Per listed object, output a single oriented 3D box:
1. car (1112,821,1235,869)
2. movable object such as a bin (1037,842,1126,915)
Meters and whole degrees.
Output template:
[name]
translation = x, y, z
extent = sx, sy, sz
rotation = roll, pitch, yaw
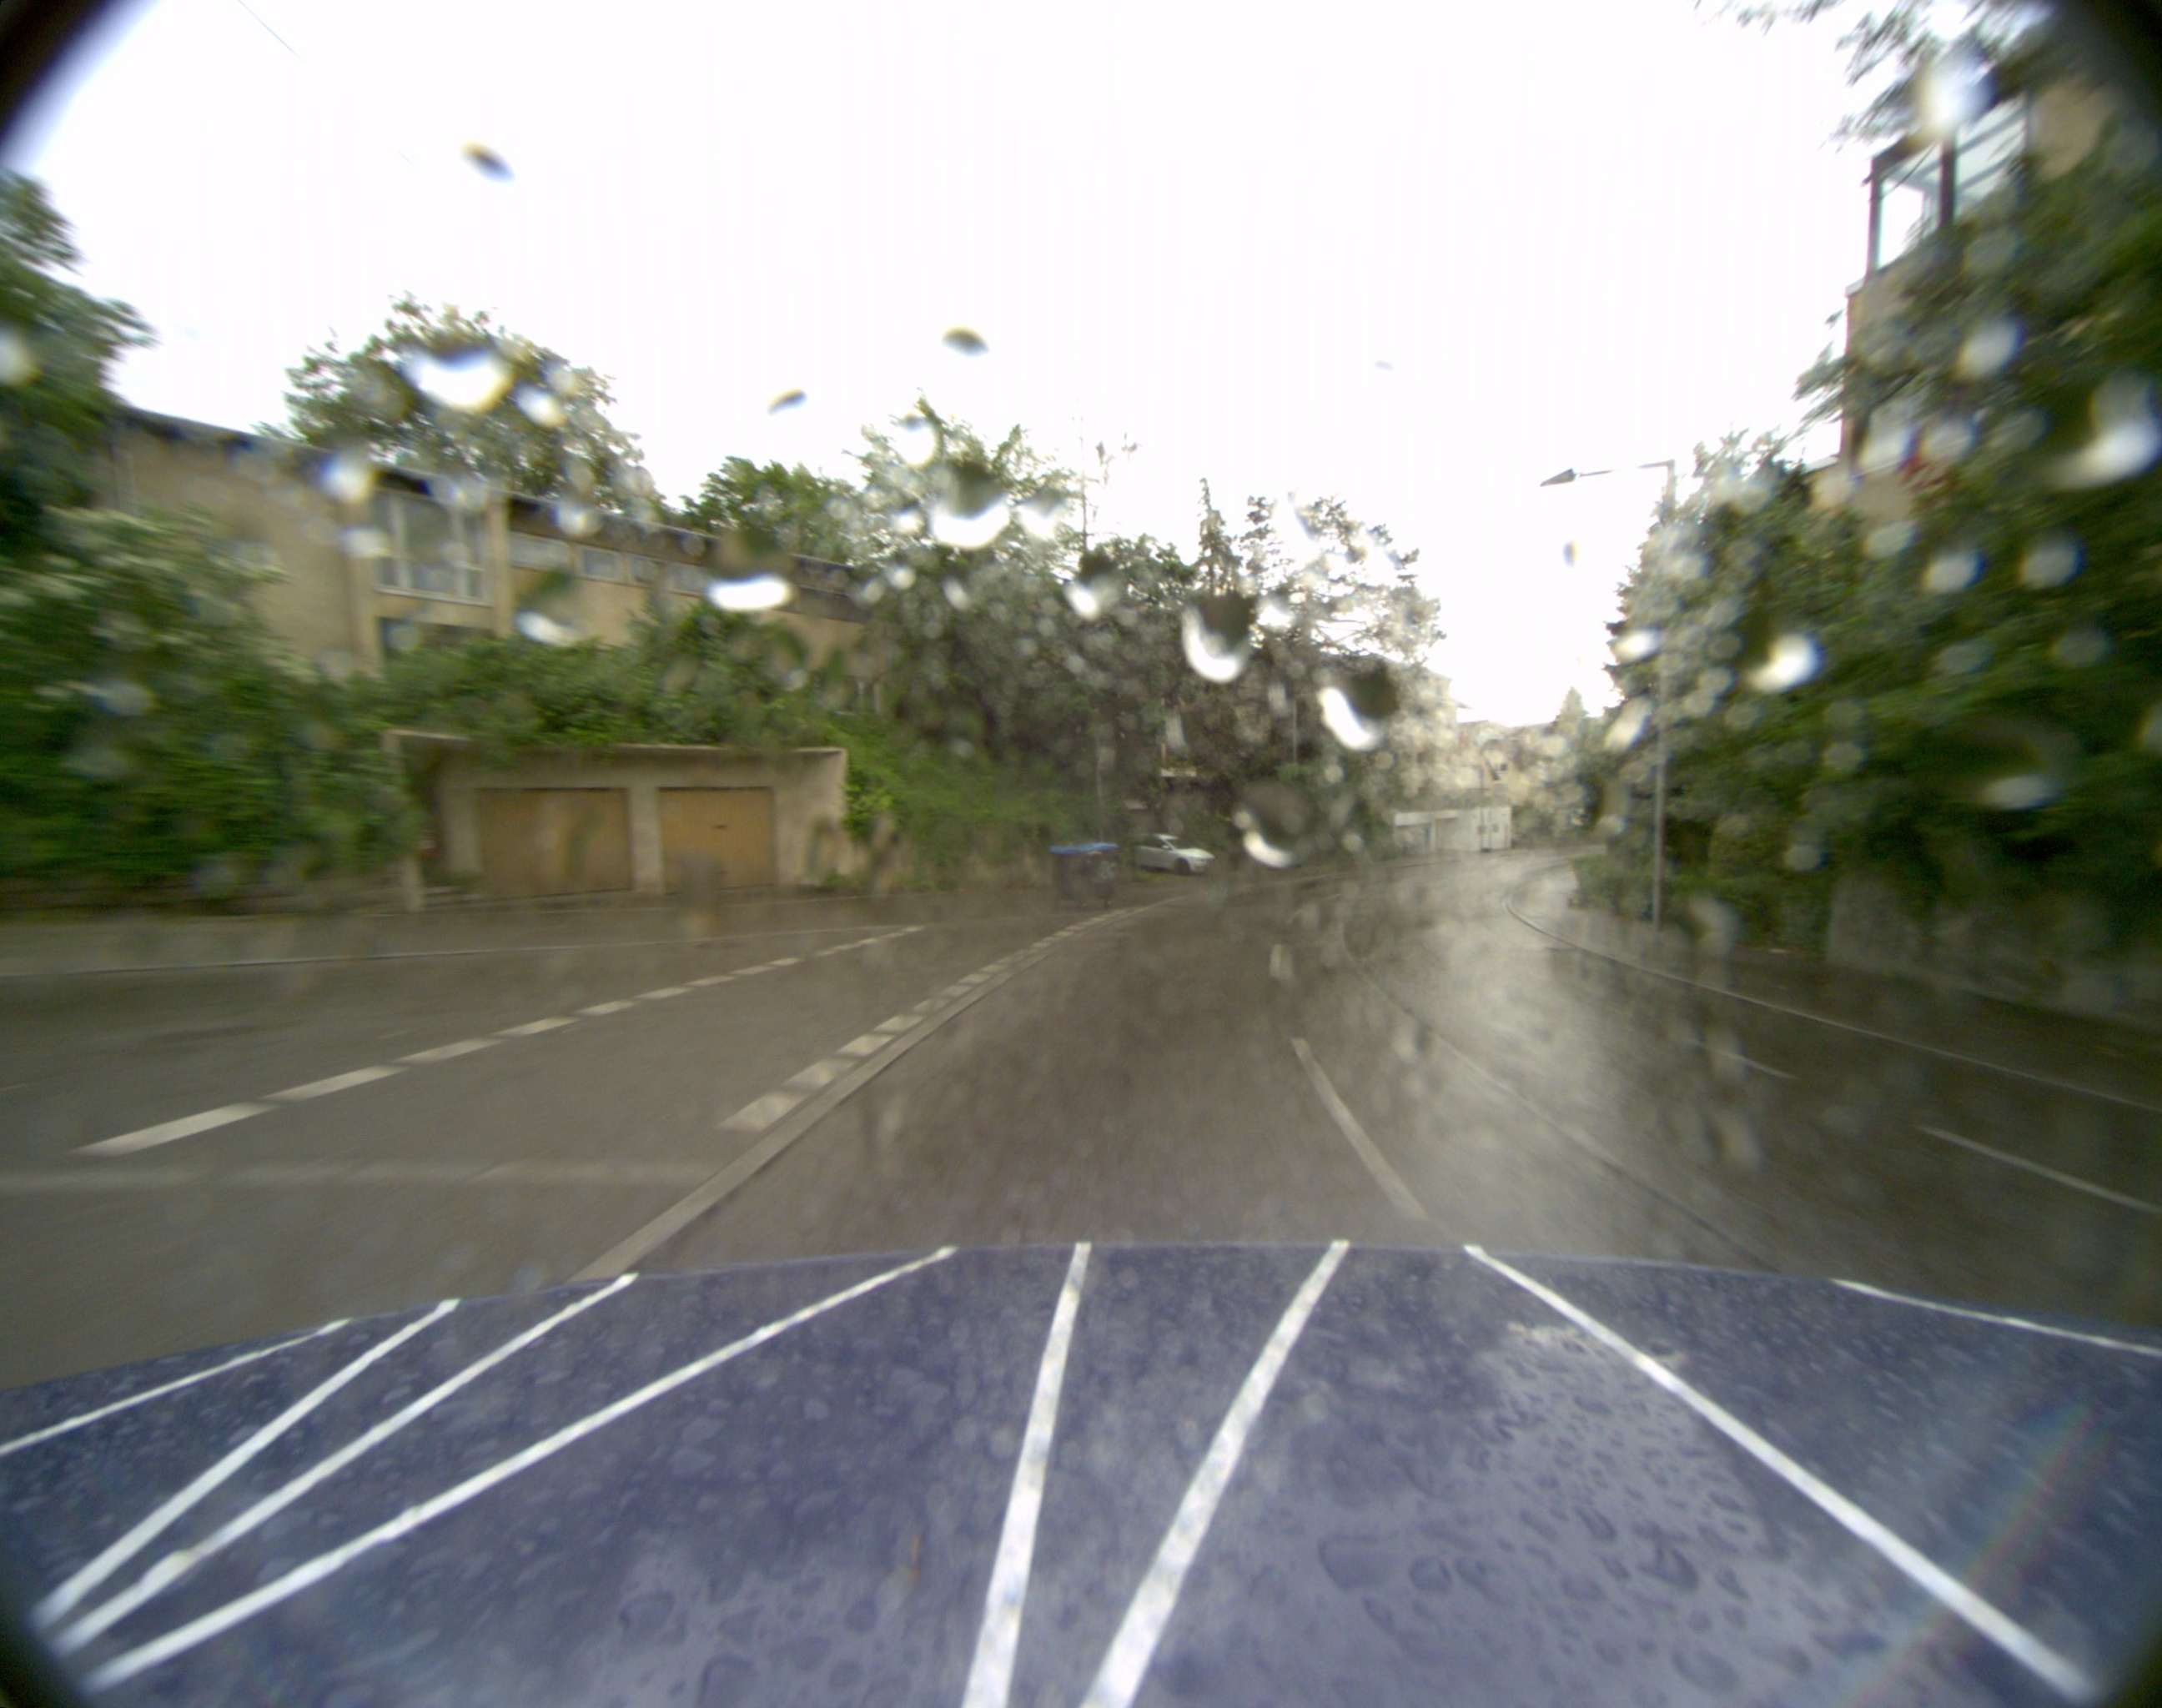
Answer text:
[car]
translation = 3.697, -0.436, 30.844
extent = 4.548, 1.545, 2.004
rotation = 6, 6, 40
[movable object such as a bin]
translation = 0.025, 0.482, 16.264
extent = 1.155, 1.402, 1.488
rotation = 6, 5, 40
